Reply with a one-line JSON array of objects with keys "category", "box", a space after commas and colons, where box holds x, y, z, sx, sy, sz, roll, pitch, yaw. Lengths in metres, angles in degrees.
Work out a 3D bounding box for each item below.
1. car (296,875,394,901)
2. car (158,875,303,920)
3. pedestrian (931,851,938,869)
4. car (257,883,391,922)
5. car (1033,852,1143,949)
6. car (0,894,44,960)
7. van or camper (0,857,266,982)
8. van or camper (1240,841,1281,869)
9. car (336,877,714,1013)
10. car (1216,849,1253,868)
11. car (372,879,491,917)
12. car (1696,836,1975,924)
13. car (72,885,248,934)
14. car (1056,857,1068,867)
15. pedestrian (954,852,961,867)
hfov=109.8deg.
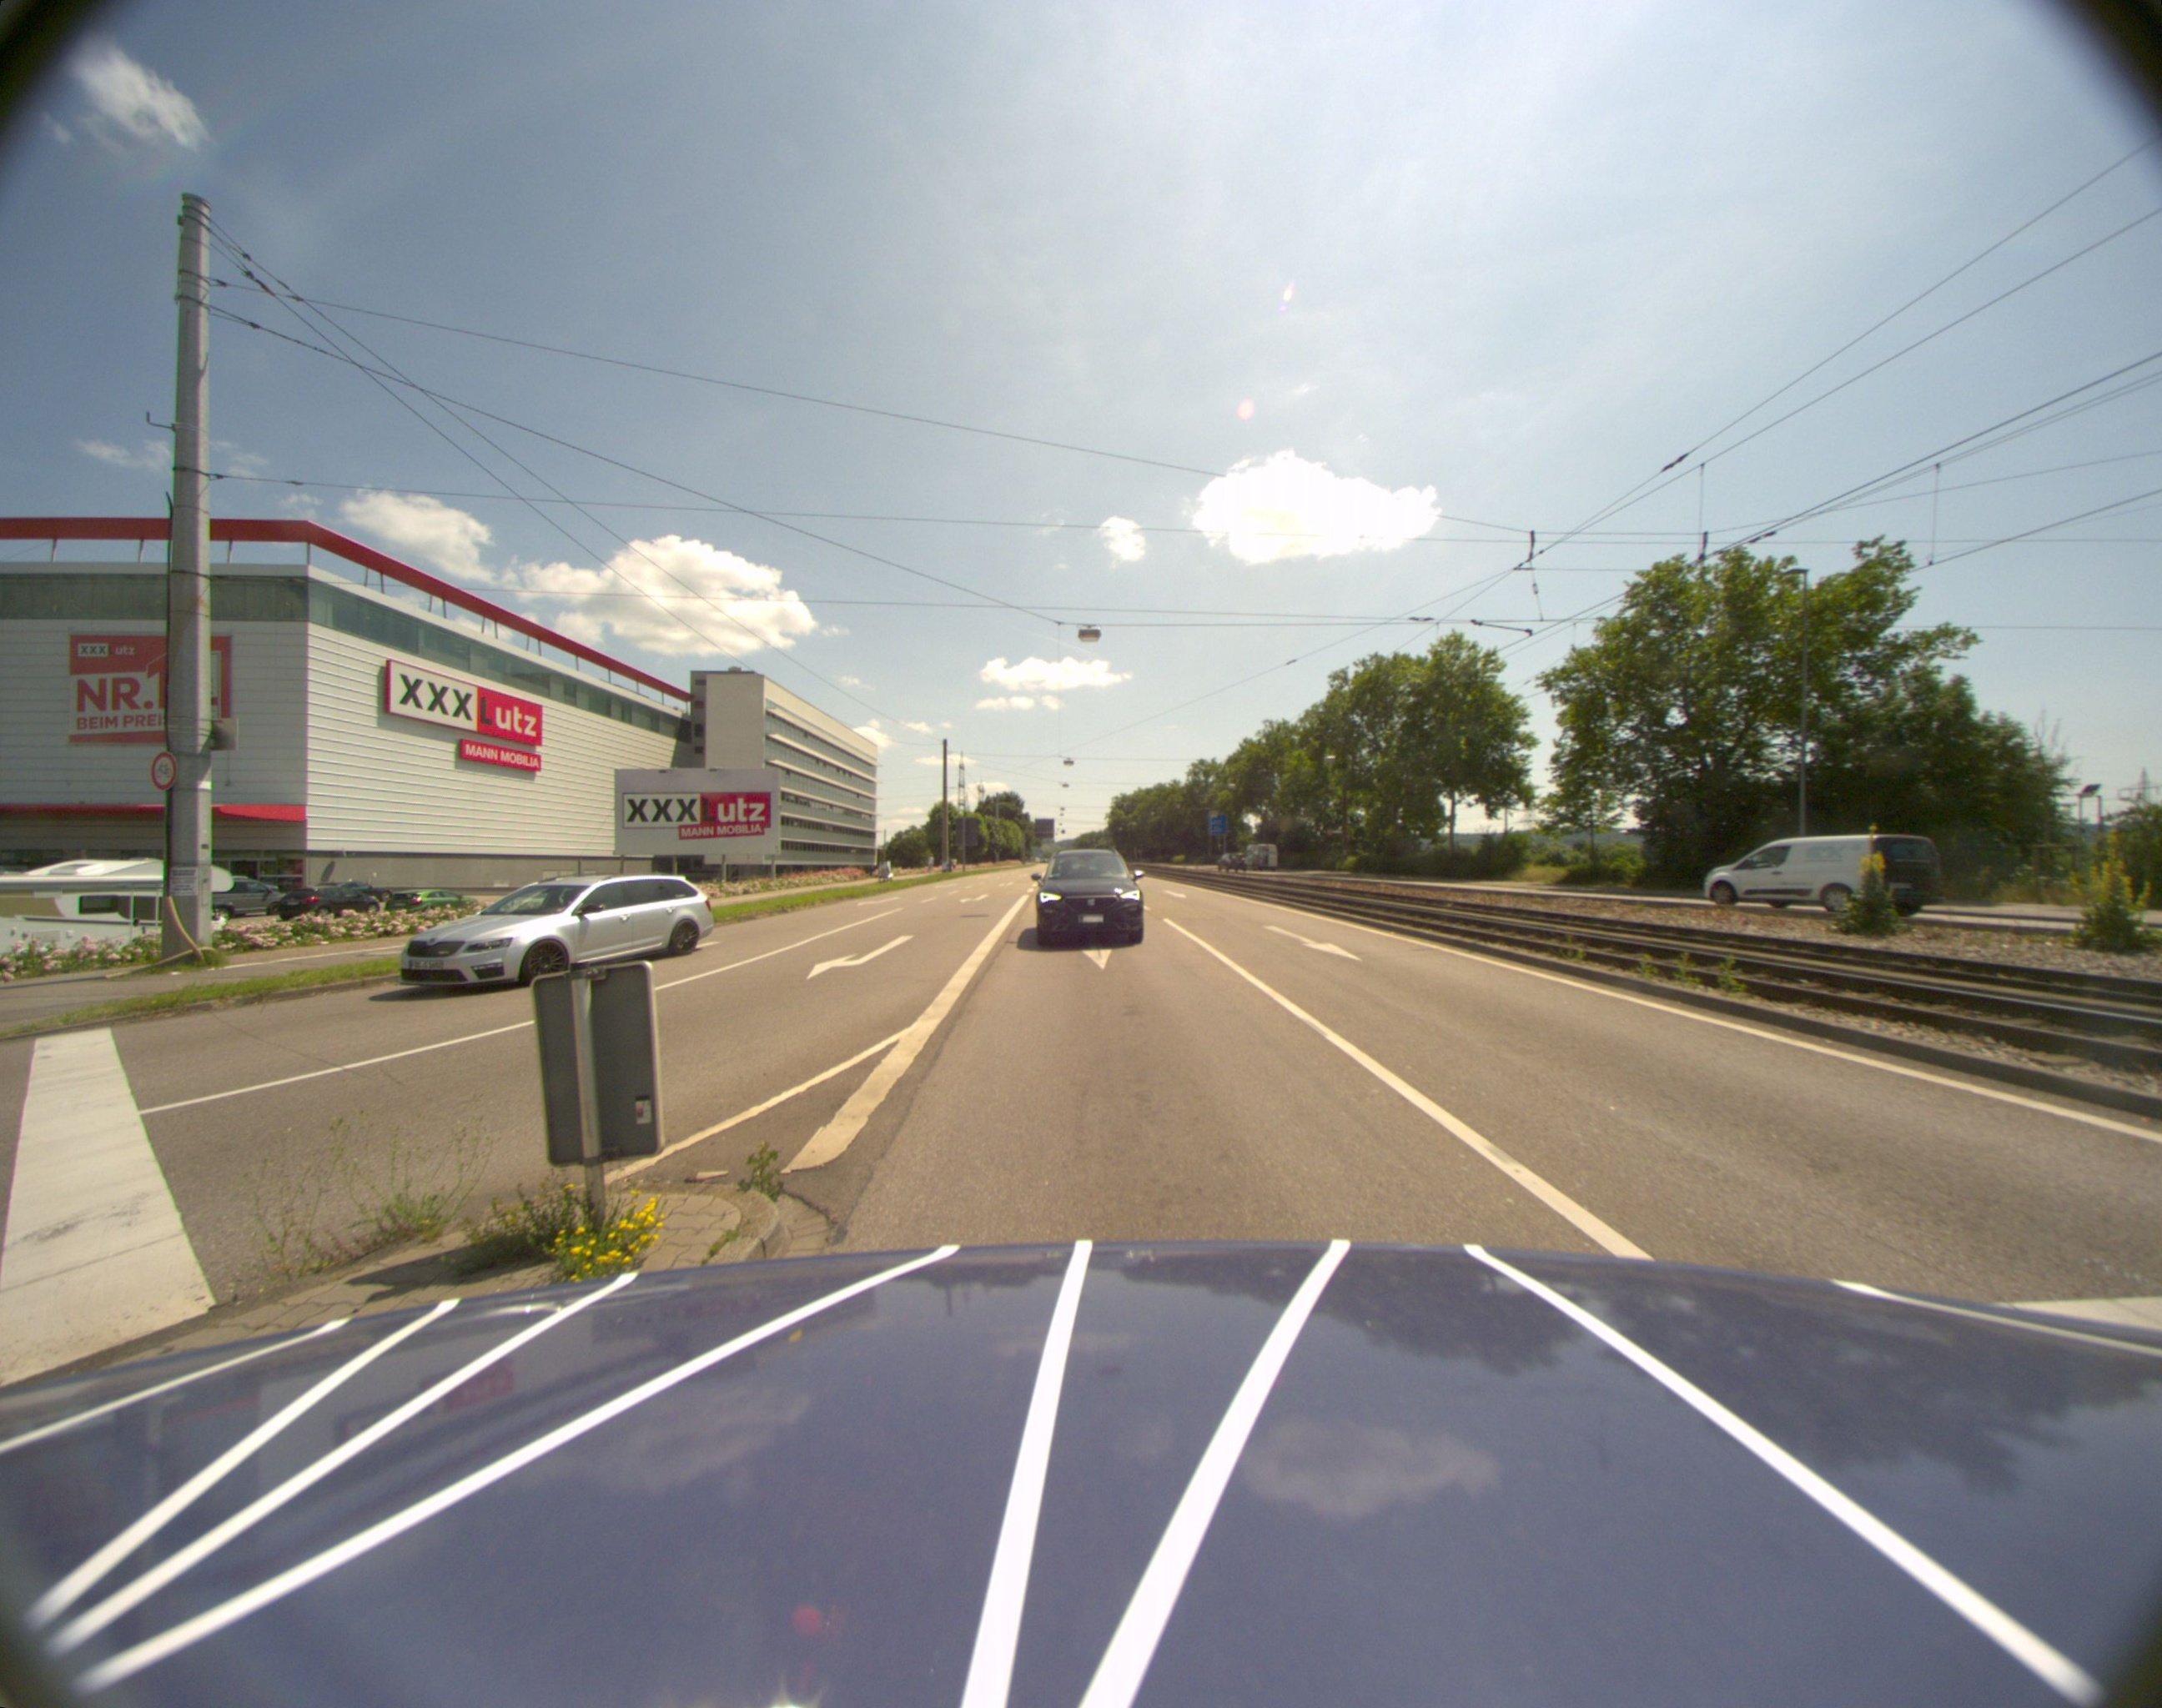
[{"category": "car", "box": [-45.754, 2.082, 47.390, 1.698, 1.392, 4.519, -2, 0, -2]}, {"category": "car", "box": [-41.937, 2.084, 37.659, 1.998, 1.883, 4.519, -2, 0, 0]}, {"category": "pedestrian", "box": [-14.446, 0.595, 74.953, 0.518, 1.783, 0.634, -2, 1, -2]}, {"category": "car", "box": [-37.224, 2.331, 37.561, 1.998, 1.546, 4.519, -2, 0, 0]}, {"category": "car", "box": [0.089, 0.781, 14.842, 1.820, 1.583, 3.999, -2, 0, -1]}, {"category": "car", "box": [-34.399, 2.282, 22.196, 1.998, 2.002, 4.453, -1, 0, 2]}, {"category": "van or camper", "box": [-27.573, 1.654, 20.508, 2.715, 2.929, 7.613, -2, 1, 1]}, {"category": "van or camper", "box": [17.126, 0.081, 72.799, 1.999, 2.571, 5.841, 1, 0, -5]}, {"category": "car", "box": [-7.813, 1.184, 11.371, 1.800, 1.390, 4.463, -2, 1, 11]}, {"category": "car", "box": [13.638, 0.391, 67.649, 2.000, 1.627, 4.263, 2, 0, -6]}, {"category": "car", "box": [-32.432, 2.153, 38.154, 1.998, 1.554, 4.519, -1, 0, 1]}, {"category": "car", "box": [17.746, 0.581, 18.248, 2.000, 1.827, 4.430, -1, -1, -8]}, {"category": "car", "box": [-39.511, 2.327, 32.816, 1.998, 1.707, 4.502, -2, 1, 0]}, {"category": "car", "box": [-3.557, 1.414, 142.659, 1.819, 1.829, 4.001, -1, 0, 3]}, {"category": "pedestrian", "box": [-13.724, 0.593, 84.298, 0.599, 1.645, 0.634, -2, 1, -2]}]
